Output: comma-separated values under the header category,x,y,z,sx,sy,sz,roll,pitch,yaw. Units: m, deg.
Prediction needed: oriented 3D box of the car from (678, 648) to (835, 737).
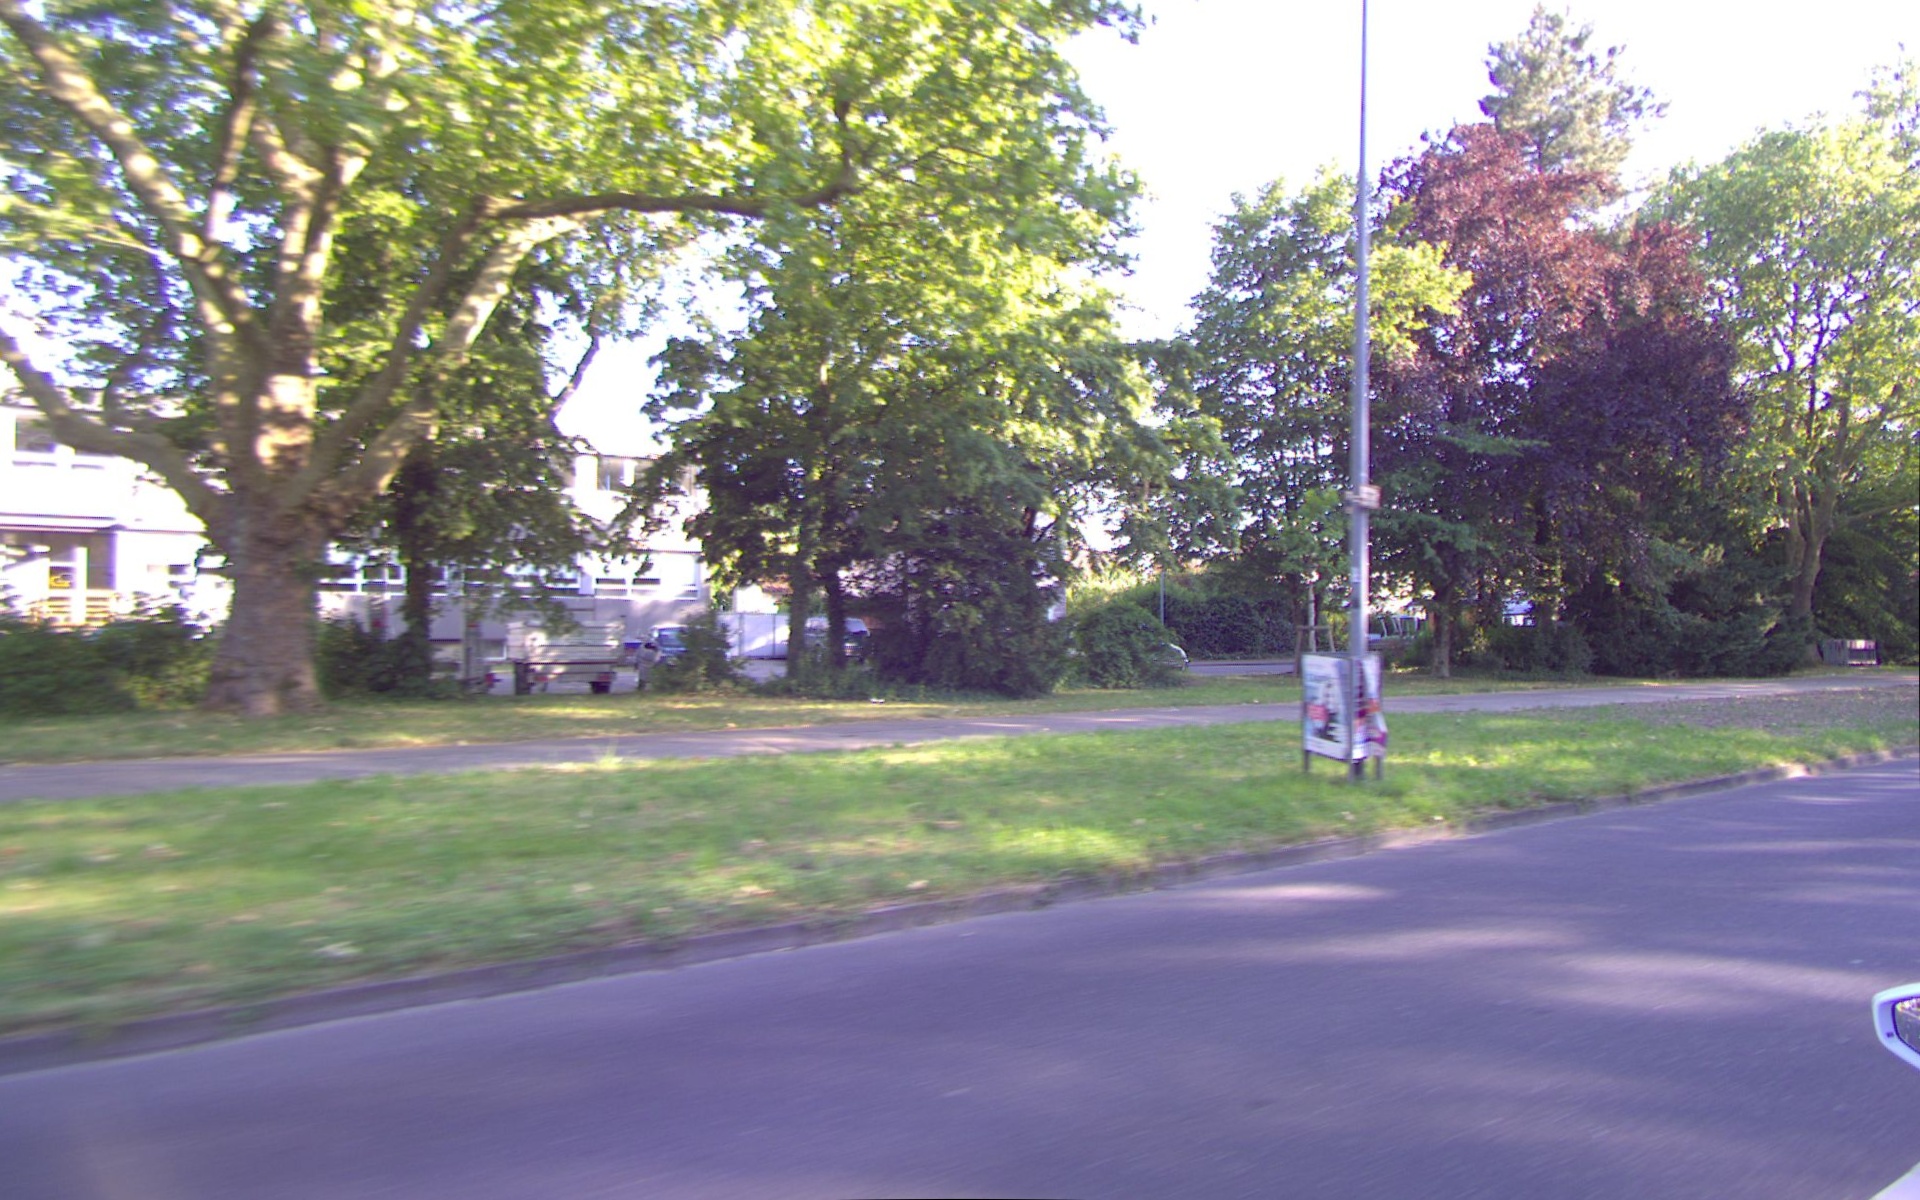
category,x,y,z,sx,sy,sz,roll,pitch,yaw
car,-4.475,1.907,21.691,1.910,1.622,3.962,2,-2,-34

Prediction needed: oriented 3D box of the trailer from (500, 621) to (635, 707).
category,x,y,z,sx,sy,sz,roll,pitch,yaw
trailer,-8.151,1.230,20.661,1.977,1.576,3.967,1,-2,-31

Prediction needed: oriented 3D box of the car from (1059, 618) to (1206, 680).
category,x,y,z,sx,sy,sz,roll,pitch,yaw
car,4.815,1.361,28.509,1.910,1.622,3.962,2,-2,-34

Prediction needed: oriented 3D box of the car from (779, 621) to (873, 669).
category,x,y,z,sx,sy,sz,roll,pitch,yaw
car,-5.054,1.654,37.467,1.910,1.654,3.963,1,-2,-34

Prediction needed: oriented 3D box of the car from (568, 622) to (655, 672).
category,x,y,z,sx,sy,sz,roll,pitch,yaw
car,-12.173,1.601,34.982,1.910,1.622,3.963,1,-2,-34

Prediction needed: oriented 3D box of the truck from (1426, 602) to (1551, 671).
category,x,y,z,sx,sy,sz,roll,pitch,yaw
truck,19.644,1.360,37.335,3.942,2.451,2.076,1,-2,-23

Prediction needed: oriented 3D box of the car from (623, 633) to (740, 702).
category,x,y,z,sx,sy,sz,roll,pitch,yaw
car,-6.201,1.430,22.149,1.503,1.382,3.367,2,-2,-34

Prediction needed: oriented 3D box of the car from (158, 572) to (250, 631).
category,x,y,z,sx,sy,sz,roll,pitch,yaw
car,-22.252,0.101,29.687,1.910,1.622,3.963,2,-2,-34
